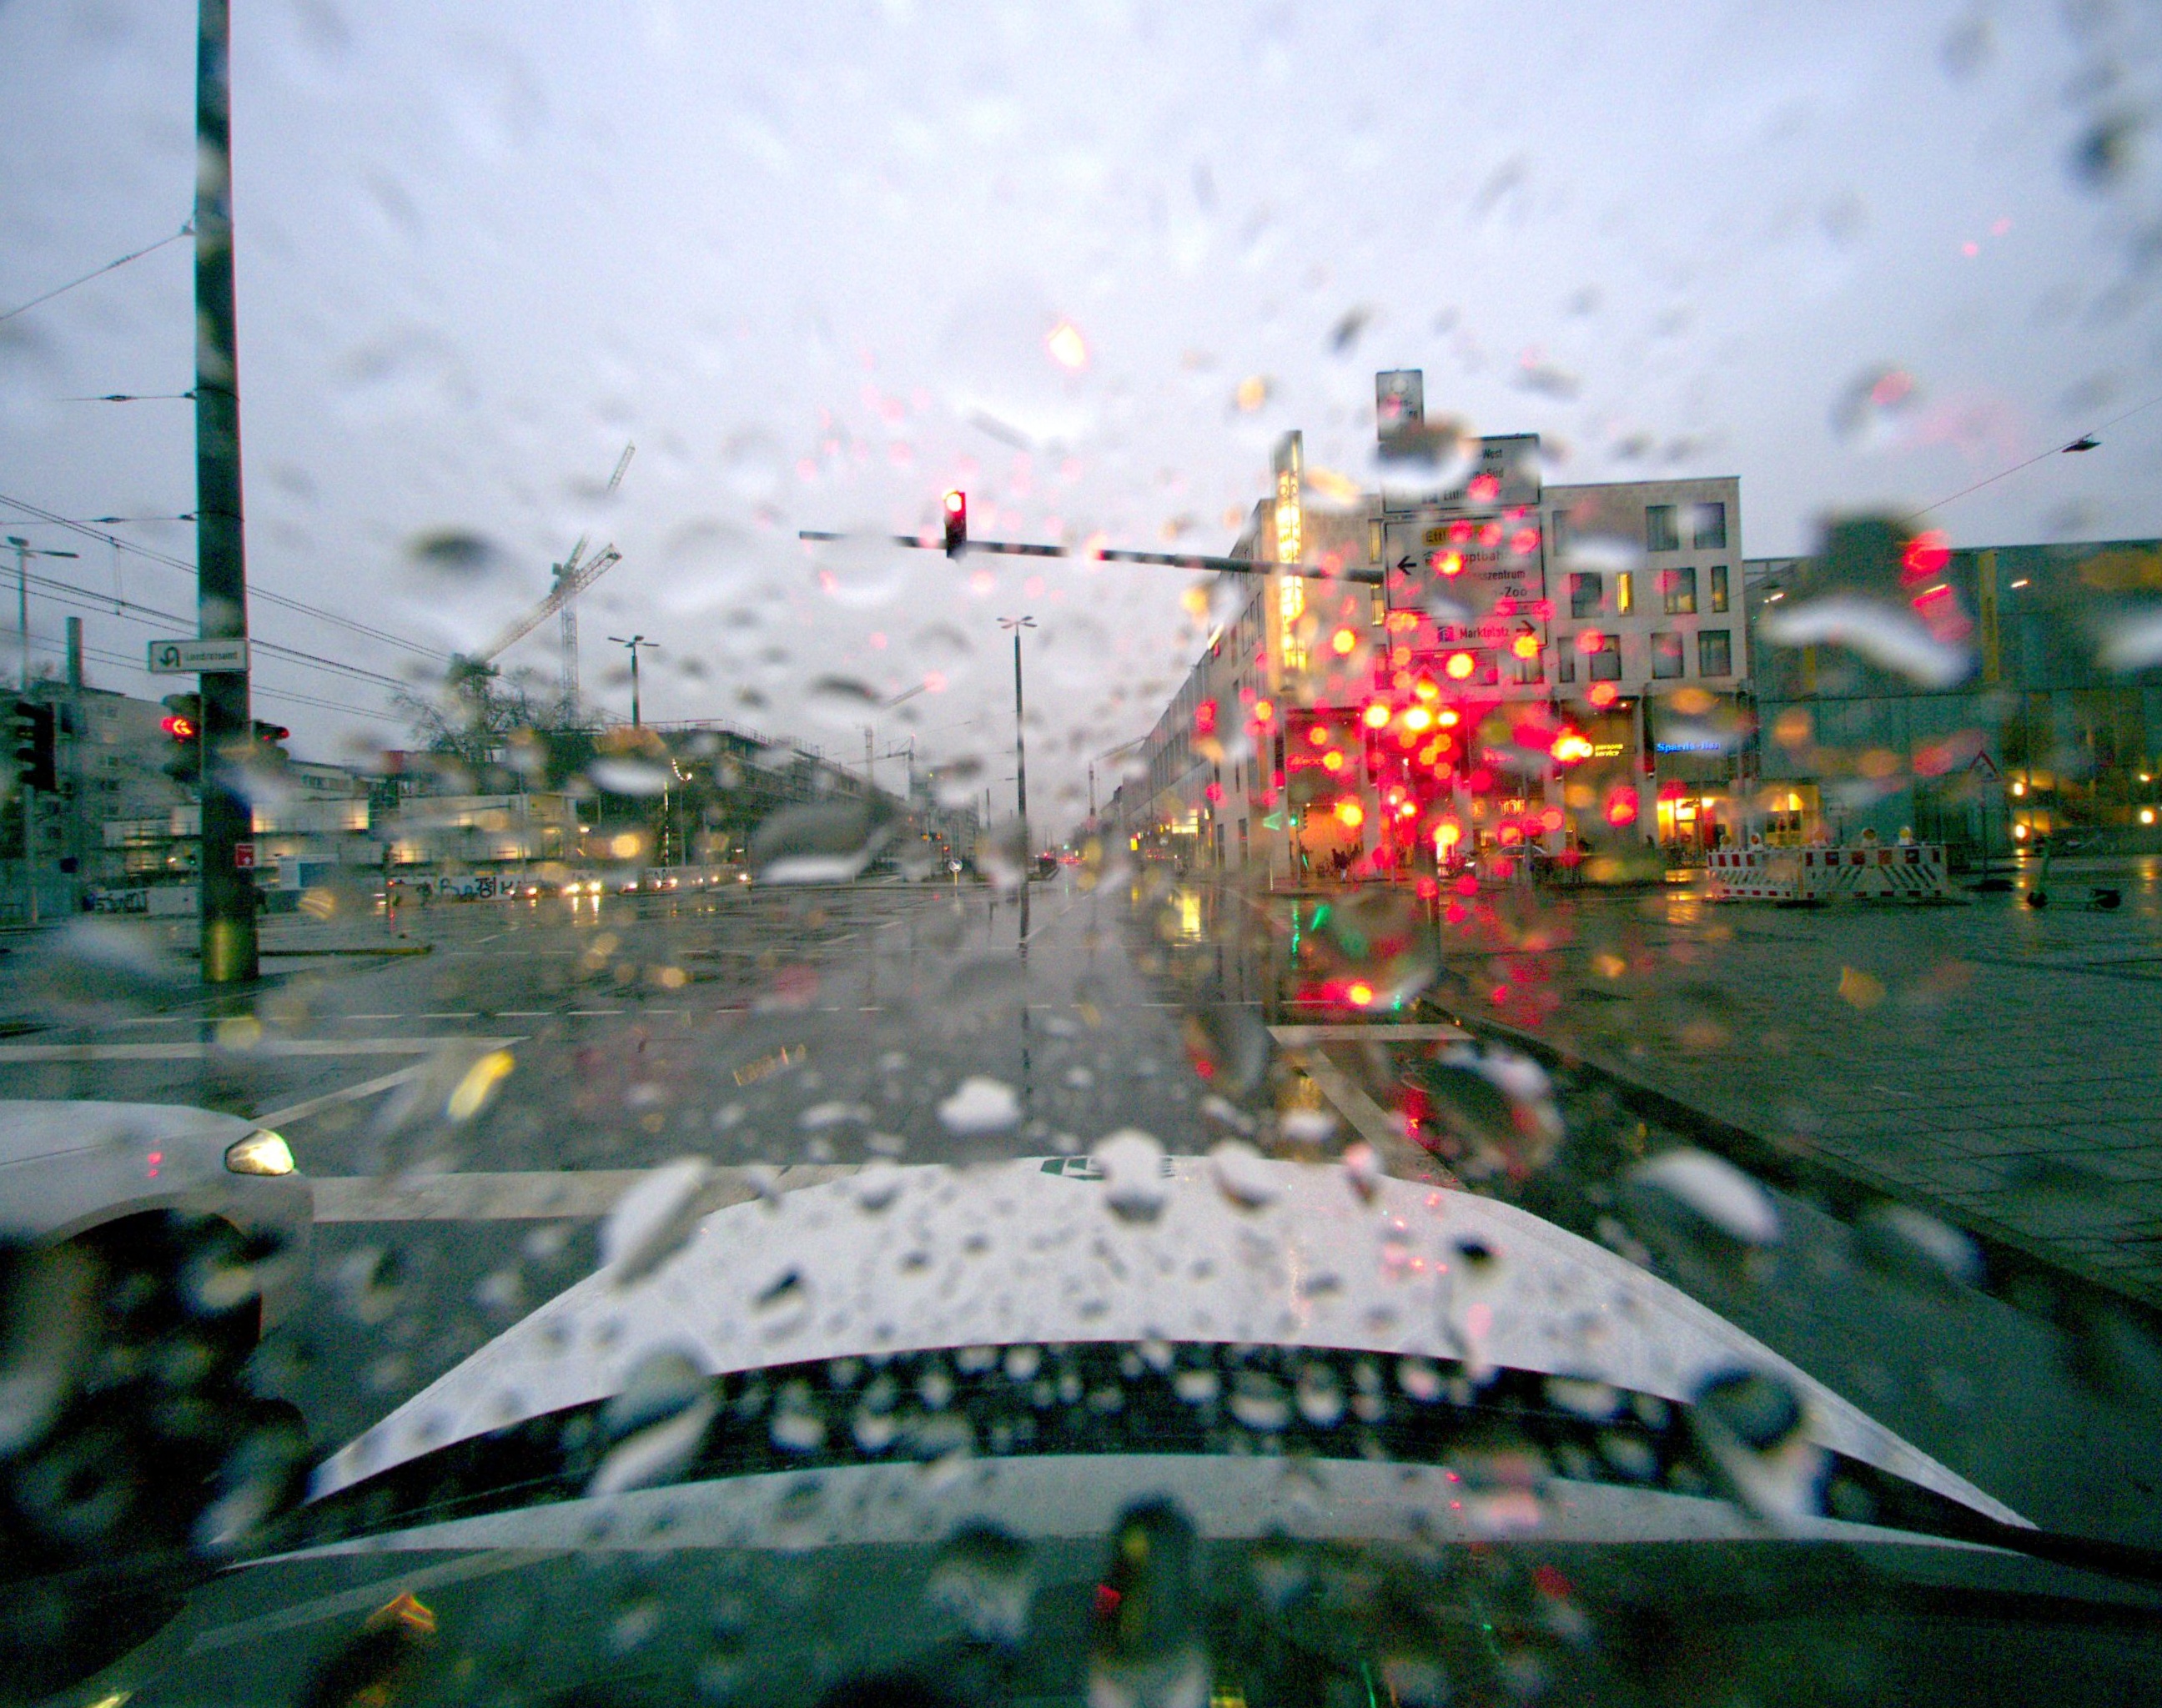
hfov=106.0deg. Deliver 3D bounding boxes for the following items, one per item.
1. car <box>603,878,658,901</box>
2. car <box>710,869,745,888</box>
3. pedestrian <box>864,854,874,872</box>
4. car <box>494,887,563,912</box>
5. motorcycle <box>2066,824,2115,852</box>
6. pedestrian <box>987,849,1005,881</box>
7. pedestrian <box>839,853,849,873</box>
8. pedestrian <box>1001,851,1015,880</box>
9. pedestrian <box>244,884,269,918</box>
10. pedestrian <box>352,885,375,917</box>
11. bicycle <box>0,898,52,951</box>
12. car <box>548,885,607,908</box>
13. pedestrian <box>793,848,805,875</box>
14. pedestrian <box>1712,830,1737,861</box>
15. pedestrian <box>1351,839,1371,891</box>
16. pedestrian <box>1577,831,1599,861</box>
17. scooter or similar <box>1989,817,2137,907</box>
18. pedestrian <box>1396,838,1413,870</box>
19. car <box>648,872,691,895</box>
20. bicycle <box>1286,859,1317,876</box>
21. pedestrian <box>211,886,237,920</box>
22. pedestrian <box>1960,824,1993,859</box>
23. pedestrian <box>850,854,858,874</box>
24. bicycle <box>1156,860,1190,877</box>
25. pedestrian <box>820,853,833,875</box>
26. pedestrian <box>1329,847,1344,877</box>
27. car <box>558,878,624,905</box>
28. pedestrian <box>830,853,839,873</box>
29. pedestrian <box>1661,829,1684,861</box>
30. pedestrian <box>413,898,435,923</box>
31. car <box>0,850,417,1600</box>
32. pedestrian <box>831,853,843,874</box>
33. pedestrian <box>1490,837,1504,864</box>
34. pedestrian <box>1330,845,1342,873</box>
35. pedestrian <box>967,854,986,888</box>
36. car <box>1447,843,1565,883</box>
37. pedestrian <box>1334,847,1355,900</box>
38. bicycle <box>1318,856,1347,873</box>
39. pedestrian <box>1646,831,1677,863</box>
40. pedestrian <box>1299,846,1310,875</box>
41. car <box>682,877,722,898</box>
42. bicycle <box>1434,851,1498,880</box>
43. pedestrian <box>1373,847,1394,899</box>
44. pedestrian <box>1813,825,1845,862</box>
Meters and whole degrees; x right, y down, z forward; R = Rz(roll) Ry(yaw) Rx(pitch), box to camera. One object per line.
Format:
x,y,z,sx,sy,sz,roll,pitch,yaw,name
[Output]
-34.275,2.638,62.074,2.074,1.530,4.603,-2,0,-8,car
-35.392,2.478,81.634,1.989,1.790,3.996,0,-1,-3,car
-23.911,1.048,91.985,0.940,2.014,1.092,0,-1,-5,pedestrian
-38.519,3.147,56.888,1.986,1.530,4.001,-2,0,2,car
48.253,-0.759,38.923,1.482,1.352,0.595,0,0,5,motorcycle
-4.887,0.629,46.834,0.826,1.831,0.778,0,-1,-29,pedestrian
-22.613,0.833,77.679,0.762,1.898,0.763,0,-2,1,pedestrian
-4.323,0.672,48.214,0.605,1.686,0.581,-1,-1,44,pedestrian
-50.272,2.845,49.662,0.781,2.014,0.748,0,-1,6,pedestrian
-49.995,3.286,56.746,0.872,2.165,0.763,0,-1,-7,pedestrian
-24.206,1.557,17.272,0.736,1.099,2.884,-1,-1,32,bicycle
-39.017,3.293,63.226,1.986,1.530,4.001,-2,0,2,car
-24.048,0.642,69.491,0.762,2.323,0.763,0,-2,1,pedestrian
34.558,-0.444,43.766,0.737,1.684,0.783,0,-1,8,pedestrian
13.218,0.524,38.428,0.687,2.441,0.758,0,-1,1,pedestrian
29.331,-0.435,47.095,0.890,1.684,0.528,-2,-1,1,pedestrian
15.689,0.114,13.064,0.590,1.352,1.495,0,0,2,scooter or similar
21.005,-0.015,52.865,0.841,2.013,0.700,-2,0,10,pedestrian
-34.540,2.435,68.537,1.862,1.828,3.993,0,-1,-5,car
13.684,0.845,50.486,1.763,1.070,0.524,0,-1,-4,bicycle
-51.424,2.941,48.866,0.861,2.014,0.624,0,-1,-6,pedestrian
44.008,-0.623,40.044,0.737,1.684,0.783,0,-1,8,pedestrian
-22.745,1.040,81.500,0.569,1.968,0.664,1,-1,-4,pedestrian
6.973,1.079,61.610,2.434,1.154,0.674,-2,-1,0,bicycle
-23.985,0.925,76.743,0.940,2.014,1.092,0,-1,-5,pedestrian
15.064,0.460,48.079,0.634,1.709,0.574,-2,-1,1,pedestrian
-33.636,2.551,56.041,1.986,1.657,4.001,-2,0,2,car
-23.530,0.828,77.652,0.696,1.881,0.553,0,-1,1,pedestrian
33.247,-0.505,45.804,0.782,1.739,0.779,-3,-1,17,pedestrian
-38.426,3.291,47.657,0.722,1.388,0.728,-1,-1,20,pedestrian
-3.198,0.766,0.330,2.010,1.487,4.561,-2,0,1,car
-23.689,0.942,79.145,0.940,2.014,1.092,0,-1,-5,pedestrian
27.632,-0.245,54.032,0.728,1.718,0.743,-3,-1,29,pedestrian
15.009,0.297,47.915,0.480,1.663,0.460,-3,-1,32,pedestrian
-6.111,0.985,47.627,0.776,2.014,0.732,-1,-1,44,pedestrian
17.933,0.382,34.501,3.970,1.618,2.001,0,-1,3,car
12.296,0.905,37.998,0.712,2.441,0.758,0,-1,1,pedestrian
15.607,0.652,50.590,1.642,1.070,0.524,0,-1,-2,bicycle
30.643,-0.354,42.995,1.026,1.684,0.824,0,-1,1,pedestrian
13.660,0.406,49.714,0.596,1.745,0.526,-1,-1,10,pedestrian
-35.321,3.116,76.071,1.989,1.790,3.996,0,-1,-3,car
19.255,0.576,40.784,2.705,1.359,0.957,-2,-1,-2,bicycle
14.215,0.894,38.322,0.691,2.448,0.792,0,-1,1,pedestrian
34.156,-0.461,37.200,0.737,1.684,0.783,0,-1,8,pedestrian
